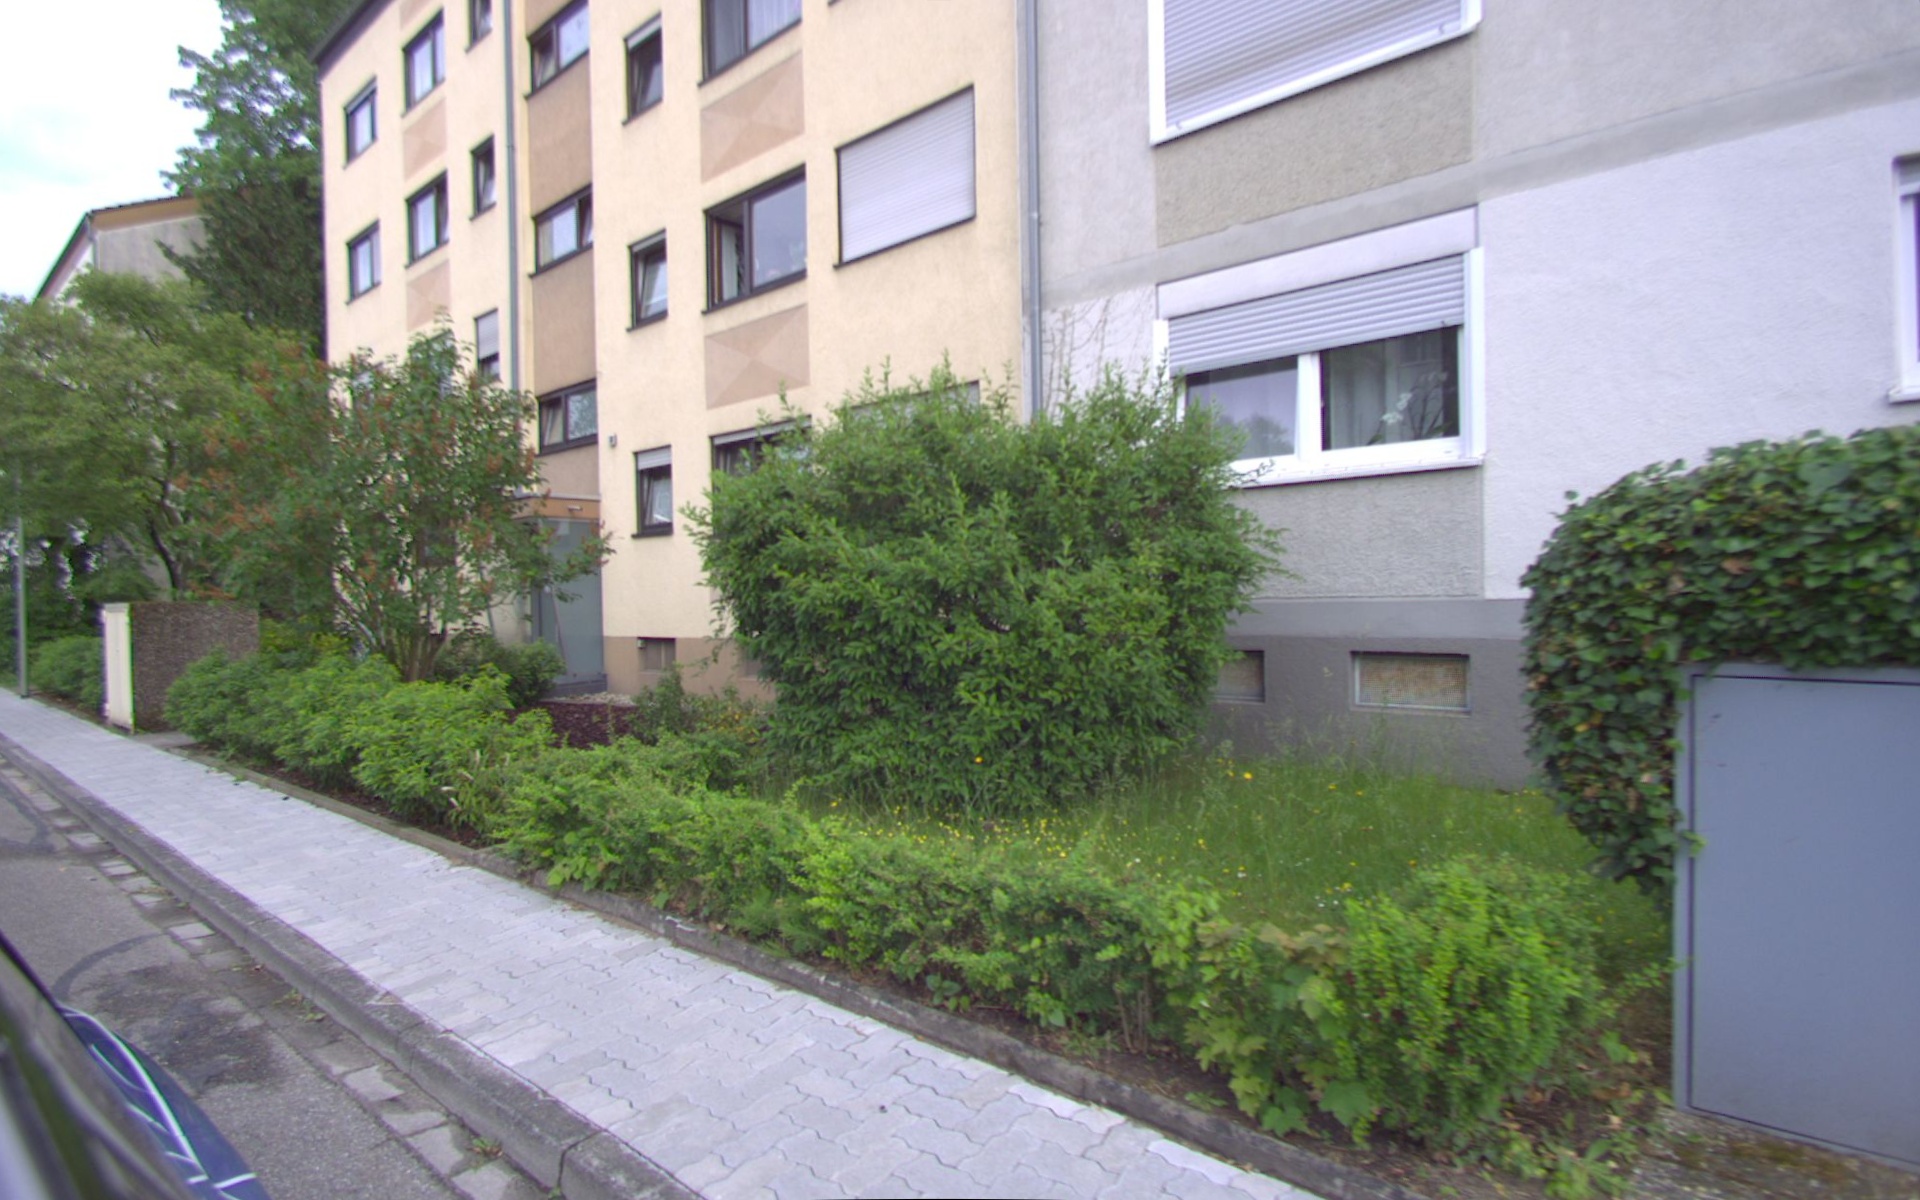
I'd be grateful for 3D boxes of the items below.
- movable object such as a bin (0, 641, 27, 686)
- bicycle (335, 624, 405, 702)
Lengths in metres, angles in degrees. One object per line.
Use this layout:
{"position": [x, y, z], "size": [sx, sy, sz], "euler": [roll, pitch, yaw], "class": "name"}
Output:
{"position": [-22.036, 1.454, 23.322], "size": [0.534, 1.030, 0.592], "euler": [-1, -3, 22], "class": "movable object such as a bin"}
{"position": [-8.486, 0.901, 14.521], "size": [1.690, 1.059, 0.311], "euler": [-4, -2, 40], "class": "bicycle"}
